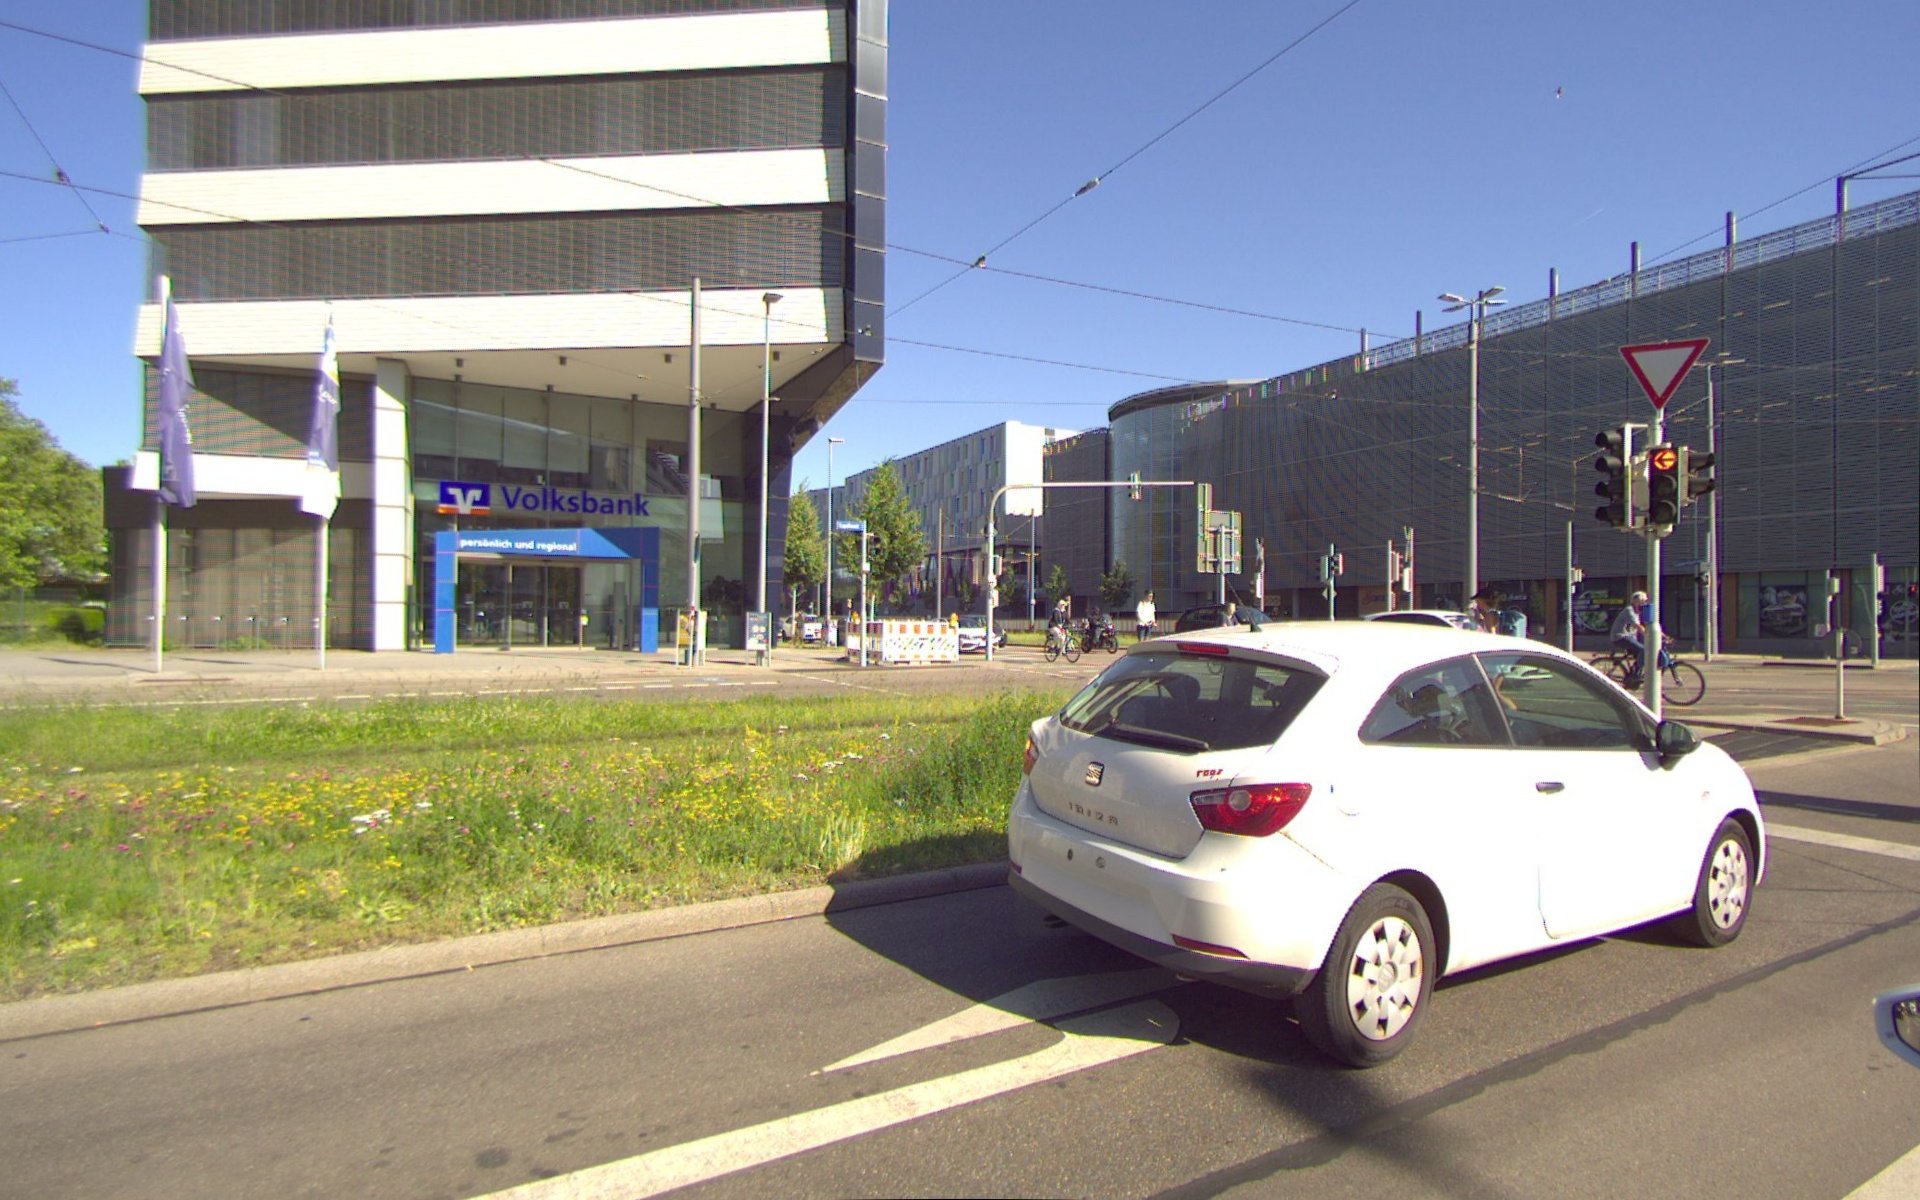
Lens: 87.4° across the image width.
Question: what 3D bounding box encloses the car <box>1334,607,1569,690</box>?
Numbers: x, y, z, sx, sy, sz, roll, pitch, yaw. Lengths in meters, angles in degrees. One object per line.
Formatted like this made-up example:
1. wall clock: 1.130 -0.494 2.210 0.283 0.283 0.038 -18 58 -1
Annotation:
1. car: 10.886 1.003 22.561 1.819 1.656 4.462 0 -1 -33

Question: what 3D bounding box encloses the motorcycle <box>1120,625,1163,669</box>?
1. motorcycle: 4.790 1.238 26.615 0.477 1.136 1.181 1 -1 -30

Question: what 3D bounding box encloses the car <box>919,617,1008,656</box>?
1. car: 0.082 1.454 40.714 1.889 1.483 4.060 1 -1 -29

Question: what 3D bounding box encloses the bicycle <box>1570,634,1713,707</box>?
1. bicycle: 11.426 1.152 16.896 0.843 1.131 1.821 1 -1 -29

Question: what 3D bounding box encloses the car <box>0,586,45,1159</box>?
1. car: -4.048 0.672 0.939 4.415 1.442 1.725 1 1 -30

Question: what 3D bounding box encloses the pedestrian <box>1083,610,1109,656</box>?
1. pedestrian: 5.111 1.239 37.844 0.657 1.699 0.740 1 0 -30

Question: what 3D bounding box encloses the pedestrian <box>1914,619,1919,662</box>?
1. pedestrian: 43.306 1.808 44.748 0.804 1.893 0.906 0 -1 13

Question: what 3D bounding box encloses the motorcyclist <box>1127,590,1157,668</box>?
1. motorcyclist: 4.820 0.766 26.605 0.491 2.040 0.625 1 -1 -30

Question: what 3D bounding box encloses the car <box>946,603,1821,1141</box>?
1. car: 1.970 0.797 4.441 3.738 1.442 1.624 1 1 -30

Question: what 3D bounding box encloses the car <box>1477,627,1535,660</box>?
1. car: 33.055 2.619 60.900 1.722 1.818 4.002 2 0 8

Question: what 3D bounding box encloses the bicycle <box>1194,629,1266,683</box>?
1. bicycle: 6.434 1.311 24.012 0.726 1.122 1.567 1 3 -32

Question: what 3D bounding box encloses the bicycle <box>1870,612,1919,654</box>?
1. bicycle: 47.913 1.640 49.774 1.314 2.040 3.969 0 0 -29

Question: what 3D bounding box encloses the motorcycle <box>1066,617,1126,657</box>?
1. motorcycle: 5.104 1.373 37.911 0.904 1.438 2.430 1 0 -31

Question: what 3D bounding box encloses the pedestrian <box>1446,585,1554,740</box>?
1. pedestrian: 6.306 0.708 11.755 0.704 1.730 0.881 1 -1 -30

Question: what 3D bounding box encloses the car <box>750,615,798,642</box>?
1. car: -12.010 1.818 64.680 1.824 1.673 4.221 1 -1 -28

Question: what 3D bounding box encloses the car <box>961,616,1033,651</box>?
1. car: 1.698 1.551 47.326 1.800 1.545 3.737 1 -1 -28

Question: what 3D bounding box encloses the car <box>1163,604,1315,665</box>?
1. car: 8.627 1.017 31.479 1.818 1.741 4.611 0 0 -31

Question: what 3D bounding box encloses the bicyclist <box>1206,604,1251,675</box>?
1. bicyclist: 6.419 0.940 24.008 0.682 1.670 0.778 1 -1 -32

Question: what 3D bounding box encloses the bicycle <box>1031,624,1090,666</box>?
1. bicycle: 2.967 1.320 29.856 0.687 1.050 1.914 1 3 -32

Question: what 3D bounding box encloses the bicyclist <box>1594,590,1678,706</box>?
1. bicyclist: 11.404 0.795 16.956 0.844 1.884 0.898 1 -1 -29

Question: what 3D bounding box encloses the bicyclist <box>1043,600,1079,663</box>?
1. bicyclist: 2.989 0.929 29.751 0.755 1.812 0.758 1 -1 -33
